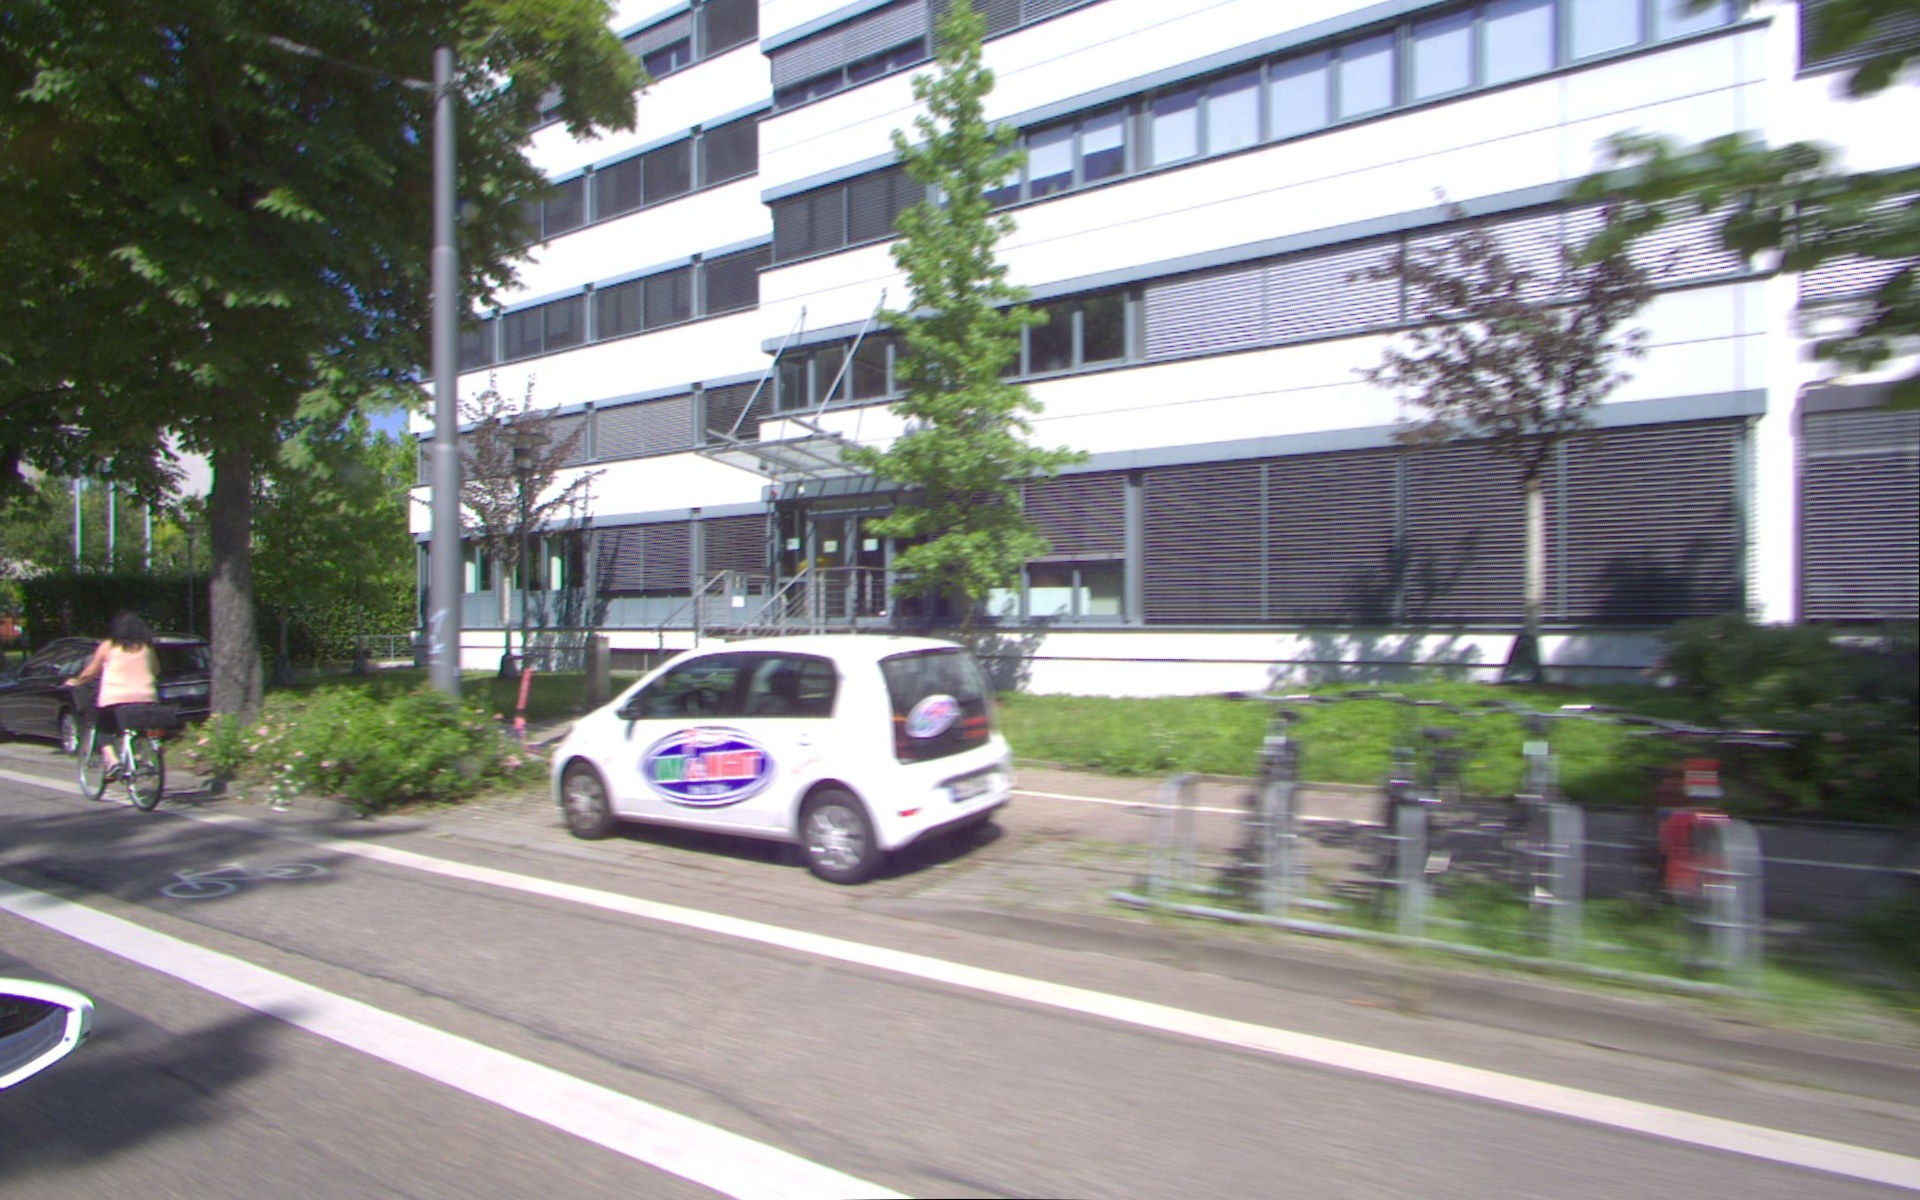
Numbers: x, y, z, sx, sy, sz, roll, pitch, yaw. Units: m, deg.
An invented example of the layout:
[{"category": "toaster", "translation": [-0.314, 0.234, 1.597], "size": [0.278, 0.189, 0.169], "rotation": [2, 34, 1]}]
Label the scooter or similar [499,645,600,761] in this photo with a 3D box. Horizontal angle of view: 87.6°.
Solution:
[{"category": "scooter or similar", "translation": [-4.403, 1.083, 10.732], "size": [1.126, 1.170, 0.386], "rotation": [0, 0, 30]}]

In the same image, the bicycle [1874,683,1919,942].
[{"category": "bicycle", "translation": [4.460, 0.967, 4.143], "size": [0.587, 1.134, 1.772], "rotation": [0, -1, 29]}]

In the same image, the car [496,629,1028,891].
[{"category": "car", "translation": [-1.573, 0.968, 7.468], "size": [3.889, 1.470, 1.588], "rotation": [-1, -1, 32]}]

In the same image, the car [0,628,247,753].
[{"category": "car", "translation": [-11.878, 1.136, 13.883], "size": [4.566, 1.463, 1.661], "rotation": [-1, -1, 32]}]

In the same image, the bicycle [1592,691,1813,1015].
[{"category": "bicycle", "translation": [3.295, 0.999, 4.592], "size": [0.542, 1.096, 1.911], "rotation": [0, -3, 29]}]

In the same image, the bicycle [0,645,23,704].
[{"category": "bicycle", "translation": [-17.445, 1.321, 17.301], "size": [0.480, 1.023, 1.787], "rotation": [0, -1, 26]}]

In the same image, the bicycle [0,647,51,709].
[{"category": "bicycle", "translation": [-16.443, 1.318, 16.750], "size": [0.480, 1.023, 1.787], "rotation": [0, -1, 26]}]

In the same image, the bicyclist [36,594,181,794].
[{"category": "bicyclist", "translation": [-7.466, 0.786, 8.794], "size": [0.727, 1.650, 0.784], "rotation": [0, 0, 31]}]

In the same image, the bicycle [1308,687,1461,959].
[{"category": "bicycle", "translation": [2.245, 1.013, 5.164], "size": [0.542, 1.096, 1.911], "rotation": [0, -4, 29]}]

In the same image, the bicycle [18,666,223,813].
[{"category": "bicycle", "translation": [-7.390, 1.156, 8.791], "size": [1.983, 1.092, 0.809], "rotation": [-1, -1, 32]}]

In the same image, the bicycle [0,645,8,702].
[{"category": "bicycle", "translation": [-17.961, 1.322, 17.557], "size": [0.480, 1.023, 1.787], "rotation": [0, -1, 26]}]

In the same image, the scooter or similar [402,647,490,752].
[{"category": "scooter or similar", "translation": [-5.953, 1.131, 11.584], "size": [1.074, 1.142, 0.379], "rotation": [0, 0, 30]}]

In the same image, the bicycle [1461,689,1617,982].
[{"category": "bicycle", "translation": [2.771, 0.999, 4.866], "size": [0.542, 1.096, 1.912], "rotation": [0, -4, 29]}]

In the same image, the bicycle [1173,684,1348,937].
[{"category": "bicycle", "translation": [1.714, 1.036, 5.509], "size": [0.542, 1.096, 1.885], "rotation": [0, -3, 29]}]

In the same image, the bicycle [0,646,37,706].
[{"category": "bicycle", "translation": [-16.948, 1.320, 17.025], "size": [0.480, 1.023, 1.787], "rotation": [0, -1, 26]}]
